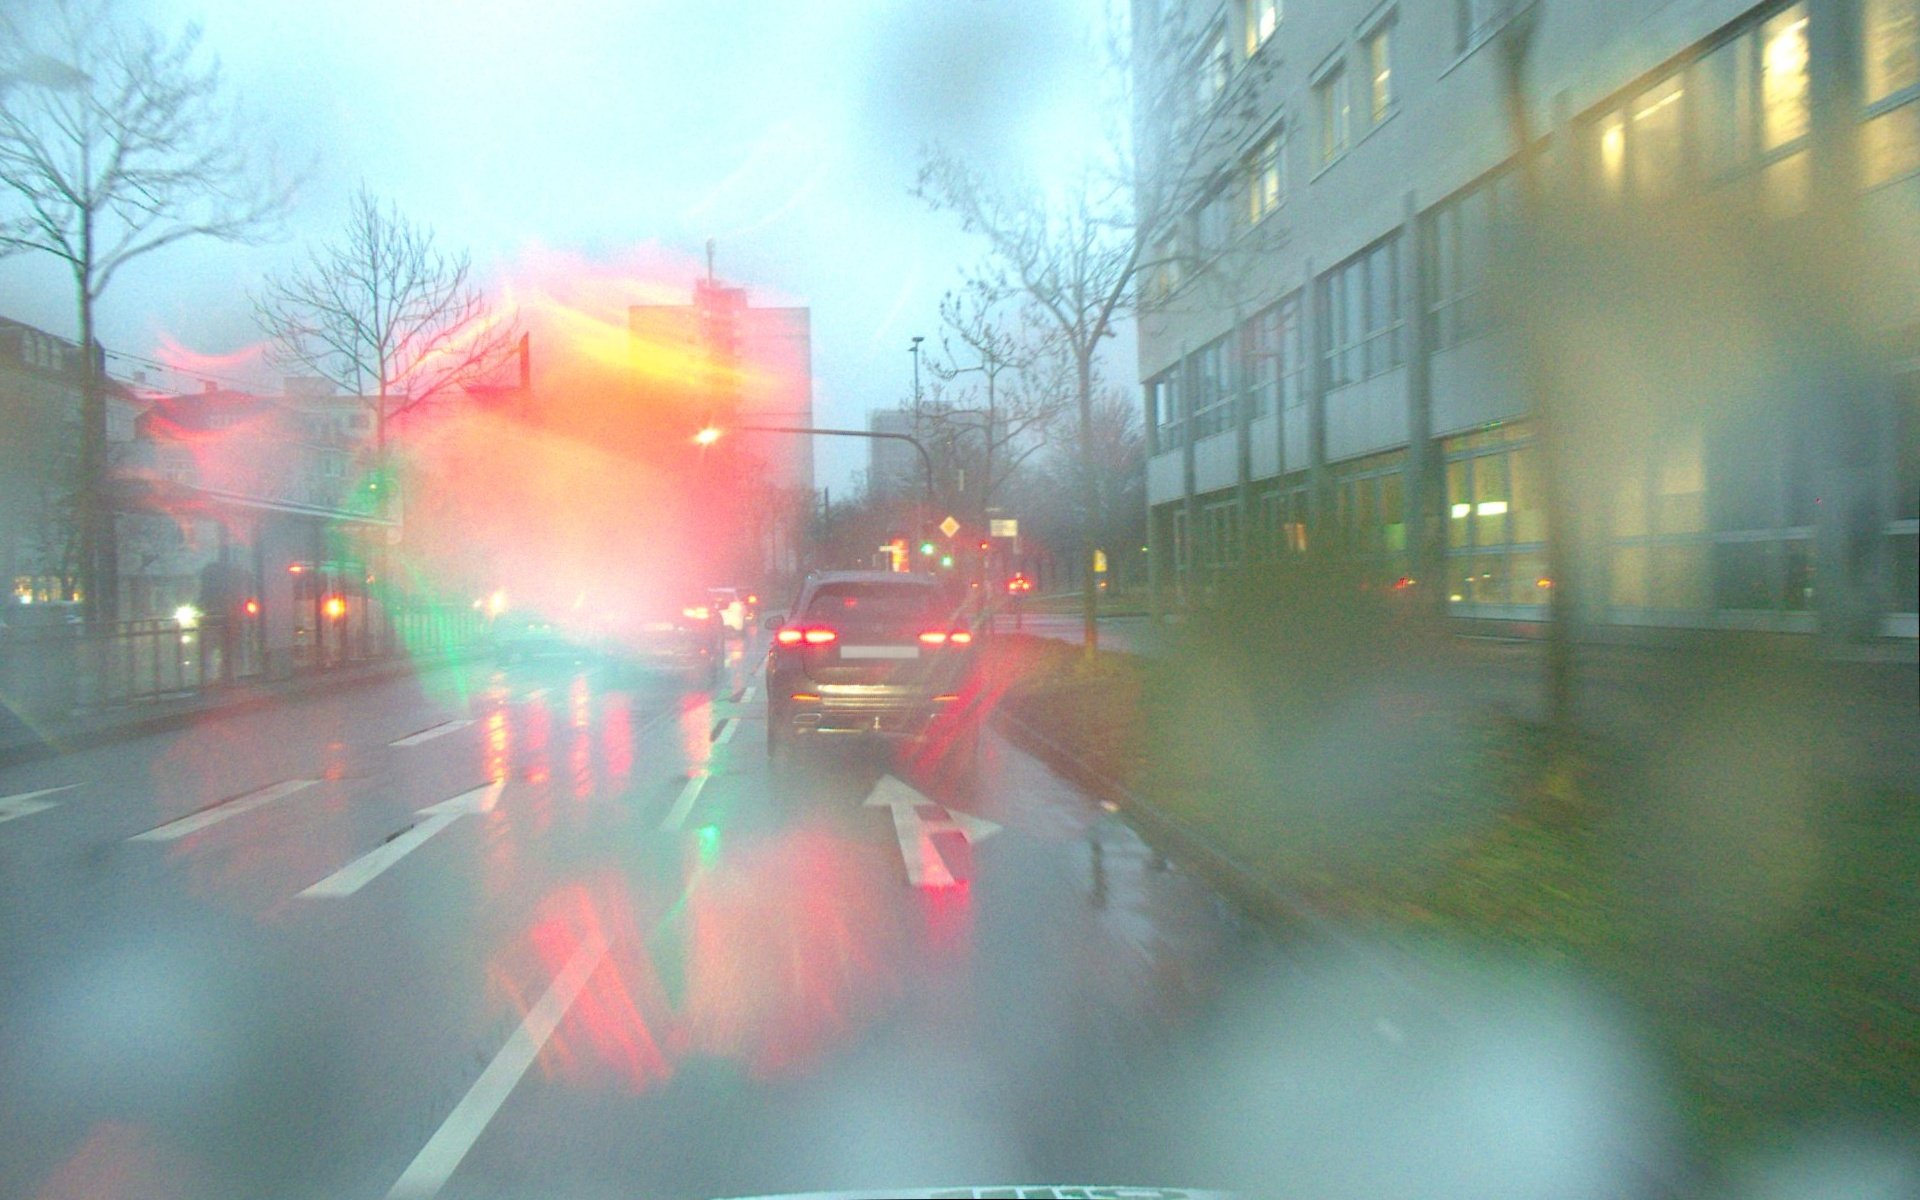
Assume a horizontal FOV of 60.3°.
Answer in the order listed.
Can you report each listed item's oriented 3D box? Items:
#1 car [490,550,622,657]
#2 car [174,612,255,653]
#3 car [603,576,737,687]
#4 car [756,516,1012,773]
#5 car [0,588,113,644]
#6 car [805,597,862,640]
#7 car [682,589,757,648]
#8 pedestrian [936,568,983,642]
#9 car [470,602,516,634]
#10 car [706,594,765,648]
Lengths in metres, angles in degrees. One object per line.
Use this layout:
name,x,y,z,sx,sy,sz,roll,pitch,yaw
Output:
car,-8.320,0.059,34.455,1.914,2.069,4.878,0,0,-5
car,-30.205,1.305,67.083,1.644,1.641,3.337,0,-1,2
car,-4.866,0.528,28.239,1.955,1.742,4.318,0,-1,-6
car,-0.839,0.377,15.099,1.956,2.010,4.060,0,-1,-8
car,-25.773,0.453,46.838,1.723,1.523,3.757,0,-1,-2
car,-4.311,0.594,55.930,1.850,1.377,4.097,0,1,-5
car,-7.125,0.560,49.333,1.955,1.671,4.017,0,-1,-5
pedestrian,-0.005,0.115,41.778,0.779,1.780,0.862,-5,1,22
car,-24.921,0.973,88.356,1.770,1.635,3.994,0,-1,-7
car,-8.809,0.838,65.166,1.954,2.049,3.997,0,-1,-3
